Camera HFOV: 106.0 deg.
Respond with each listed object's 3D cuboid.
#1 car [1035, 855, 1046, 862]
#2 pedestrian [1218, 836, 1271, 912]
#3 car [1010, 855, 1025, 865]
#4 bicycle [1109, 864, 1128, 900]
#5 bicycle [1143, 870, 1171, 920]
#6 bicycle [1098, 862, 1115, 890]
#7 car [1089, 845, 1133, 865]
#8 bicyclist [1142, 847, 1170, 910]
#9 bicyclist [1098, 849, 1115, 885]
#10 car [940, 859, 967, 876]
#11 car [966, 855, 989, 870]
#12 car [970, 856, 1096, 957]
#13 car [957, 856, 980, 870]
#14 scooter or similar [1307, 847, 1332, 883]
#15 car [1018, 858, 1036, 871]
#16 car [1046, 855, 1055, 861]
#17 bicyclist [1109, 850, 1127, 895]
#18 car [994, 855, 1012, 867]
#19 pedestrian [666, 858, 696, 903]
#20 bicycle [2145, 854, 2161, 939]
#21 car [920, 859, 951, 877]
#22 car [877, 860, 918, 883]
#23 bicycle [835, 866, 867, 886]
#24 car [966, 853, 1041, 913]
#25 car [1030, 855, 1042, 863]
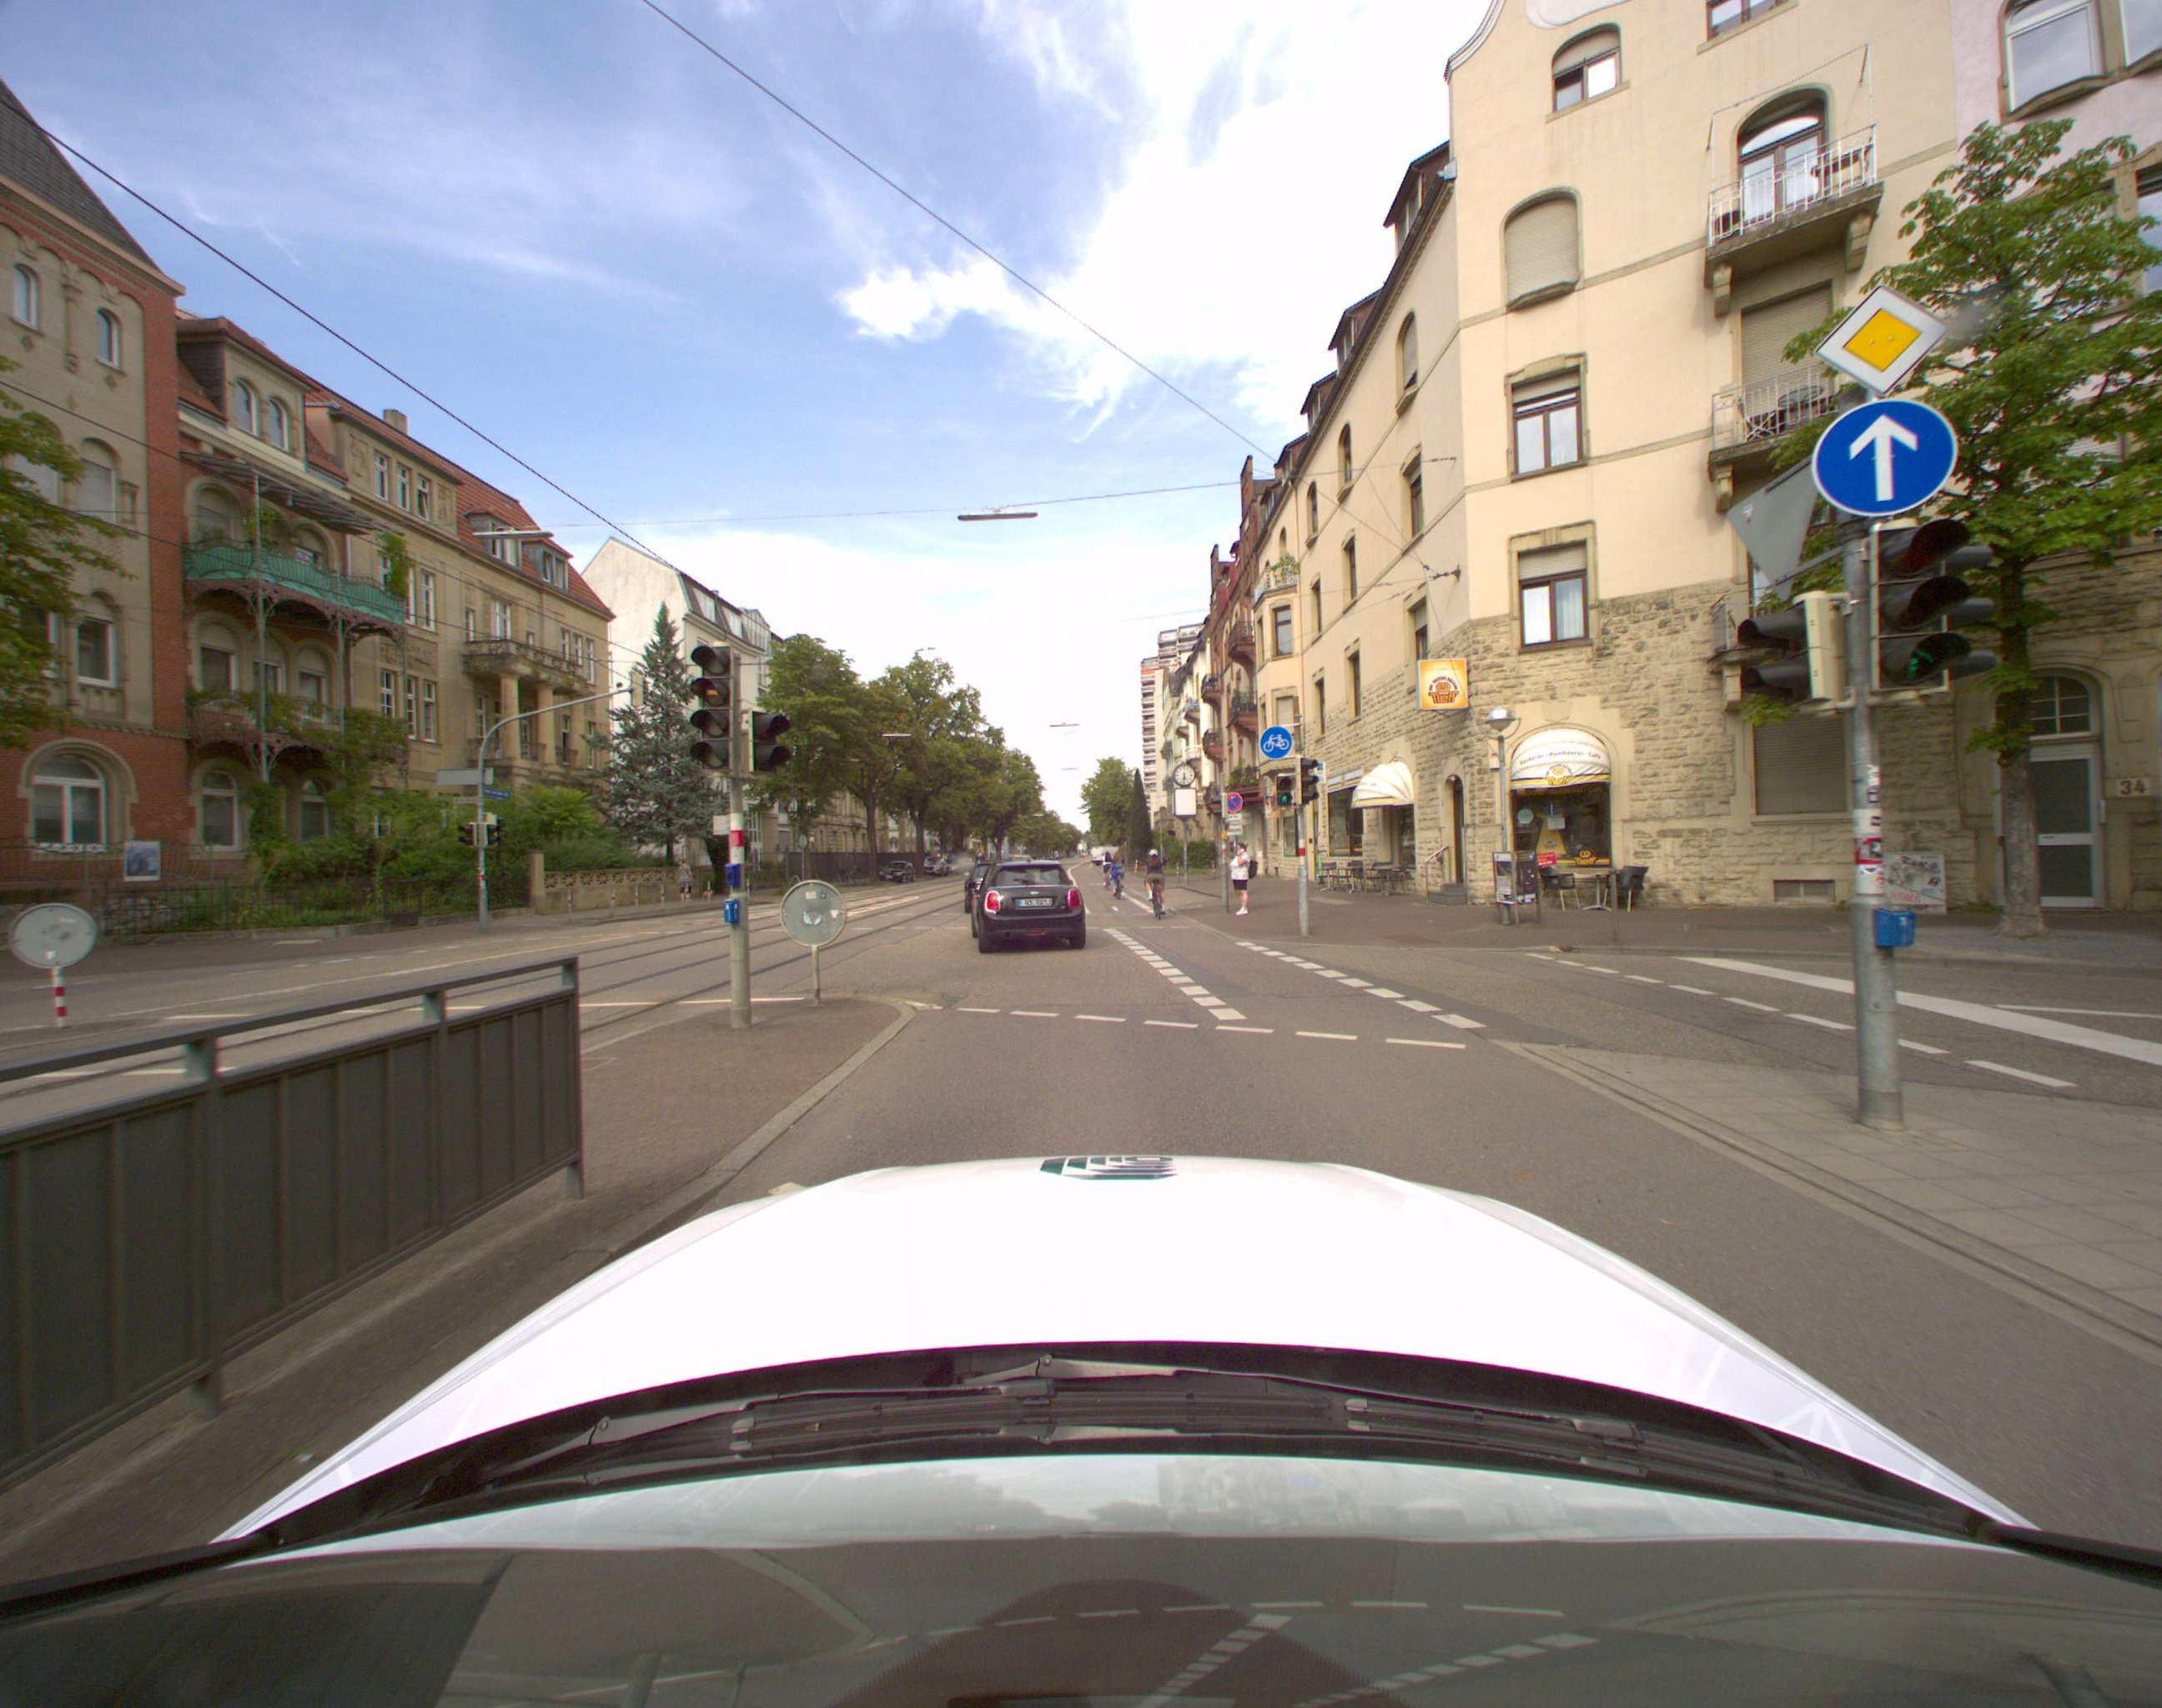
[{"bbox_3d":[-9.013,1.008,179.947,1.986,1.552,4.002,-2,0,2],"label":"car"},{"bbox_3d":[3.843,0.471,19.154,0.840,1.674,0.724,-5,0,-42],"label":"pedestrian"},{"bbox_3d":[-10.393,1.028,133.491,1.986,1.552,4.002,-2,0,2],"label":"car"},{"bbox_3d":[1.322,0.978,29.108,0.596,1.170,1.697,-2,0,2],"label":"bicycle"},{"bbox_3d":[1.854,0.979,19.911,0.612,1.076,1.824,-2,0,6],"label":"bicycle"},{"bbox_3d":[1.162,0.989,36.596,0.681,1.170,1.698,-2,0,4],"label":"bicycle"},{"bbox_3d":[3.664,0.100,99.578,5.065,2.272,2.369,-2,0,-39],"label":"car"},{"bbox_3d":[1.842,0.580,19.901,0.612,1.472,0.917,-2,0,5],"label":"bicyclist"},{"bbox_3d":[1.144,0.570,36.551,0.681,1.564,0.999,-2,0,4],"label":"bicyclist"},{"bbox_3d":[-11.743,1.206,75.232,1.761,1.395,4.001,-2,0,1],"label":"car"},{"bbox_3d":[-11.925,0.957,94.295,1.986,1.552,4.002,-2,0,2],"label":"car"},{"bbox_3d":[-0.985,0.794,14.251,1.752,1.441,3.987,-2,0,-9],"label":"car"},{"bbox_3d":[-11.833,0.931,85.889,1.761,1.395,4.001,-2,0,1],"label":"car"},{"bbox_3d":[8.190,0.379,27.982,0.506,1.188,1.262,-2,0,2],"label":"scooter or similar"},{"bbox_3d":[-6.367,1.213,97.050,1.761,1.395,4.001,-2,0,1],"label":"car"},{"bbox_3d":[-7.899,1.063,210.102,1.986,1.552,4.002,-2,0,2],"label":"car"},{"bbox_3d":[1.320,0.649,29.174,0.592,1.550,1.014,-2,0,2],"label":"bicyclist"},{"bbox_3d":[-11.241,1.007,117.265,1.986,1.552,4.002,-2,0,2],"label":"car"},{"bbox_3d":[-16.279,1.064,33.129,0.727,1.783,0.836,-2,0,2],"label":"pedestrian"},{"bbox_3d":[12.522,0.503,8.958,0.595,0.972,1.683,-2,0,39],"label":"bicycle"},{"bbox_3d":[-12.007,1.121,67.560,1.761,1.395,4.001,-2,0,1],"label":"car"},{"bbox_3d":[-12.475,1.157,55.536,1.761,1.395,4.001,-2,0,1],"label":"car"},{"bbox_3d":[-13.561,1.297,48.083,1.680,1.119,0.566,-3,0,-38],"label":"bicycle"},{"bbox_3d":[-2.287,0.779,23.521,1.925,1.510,3.990,-2,0,-7],"label":"car"},{"bbox_3d":[-9.340,0.982,169.717,1.986,1.552,4.002,-2,0,2],"label":"car"}]
